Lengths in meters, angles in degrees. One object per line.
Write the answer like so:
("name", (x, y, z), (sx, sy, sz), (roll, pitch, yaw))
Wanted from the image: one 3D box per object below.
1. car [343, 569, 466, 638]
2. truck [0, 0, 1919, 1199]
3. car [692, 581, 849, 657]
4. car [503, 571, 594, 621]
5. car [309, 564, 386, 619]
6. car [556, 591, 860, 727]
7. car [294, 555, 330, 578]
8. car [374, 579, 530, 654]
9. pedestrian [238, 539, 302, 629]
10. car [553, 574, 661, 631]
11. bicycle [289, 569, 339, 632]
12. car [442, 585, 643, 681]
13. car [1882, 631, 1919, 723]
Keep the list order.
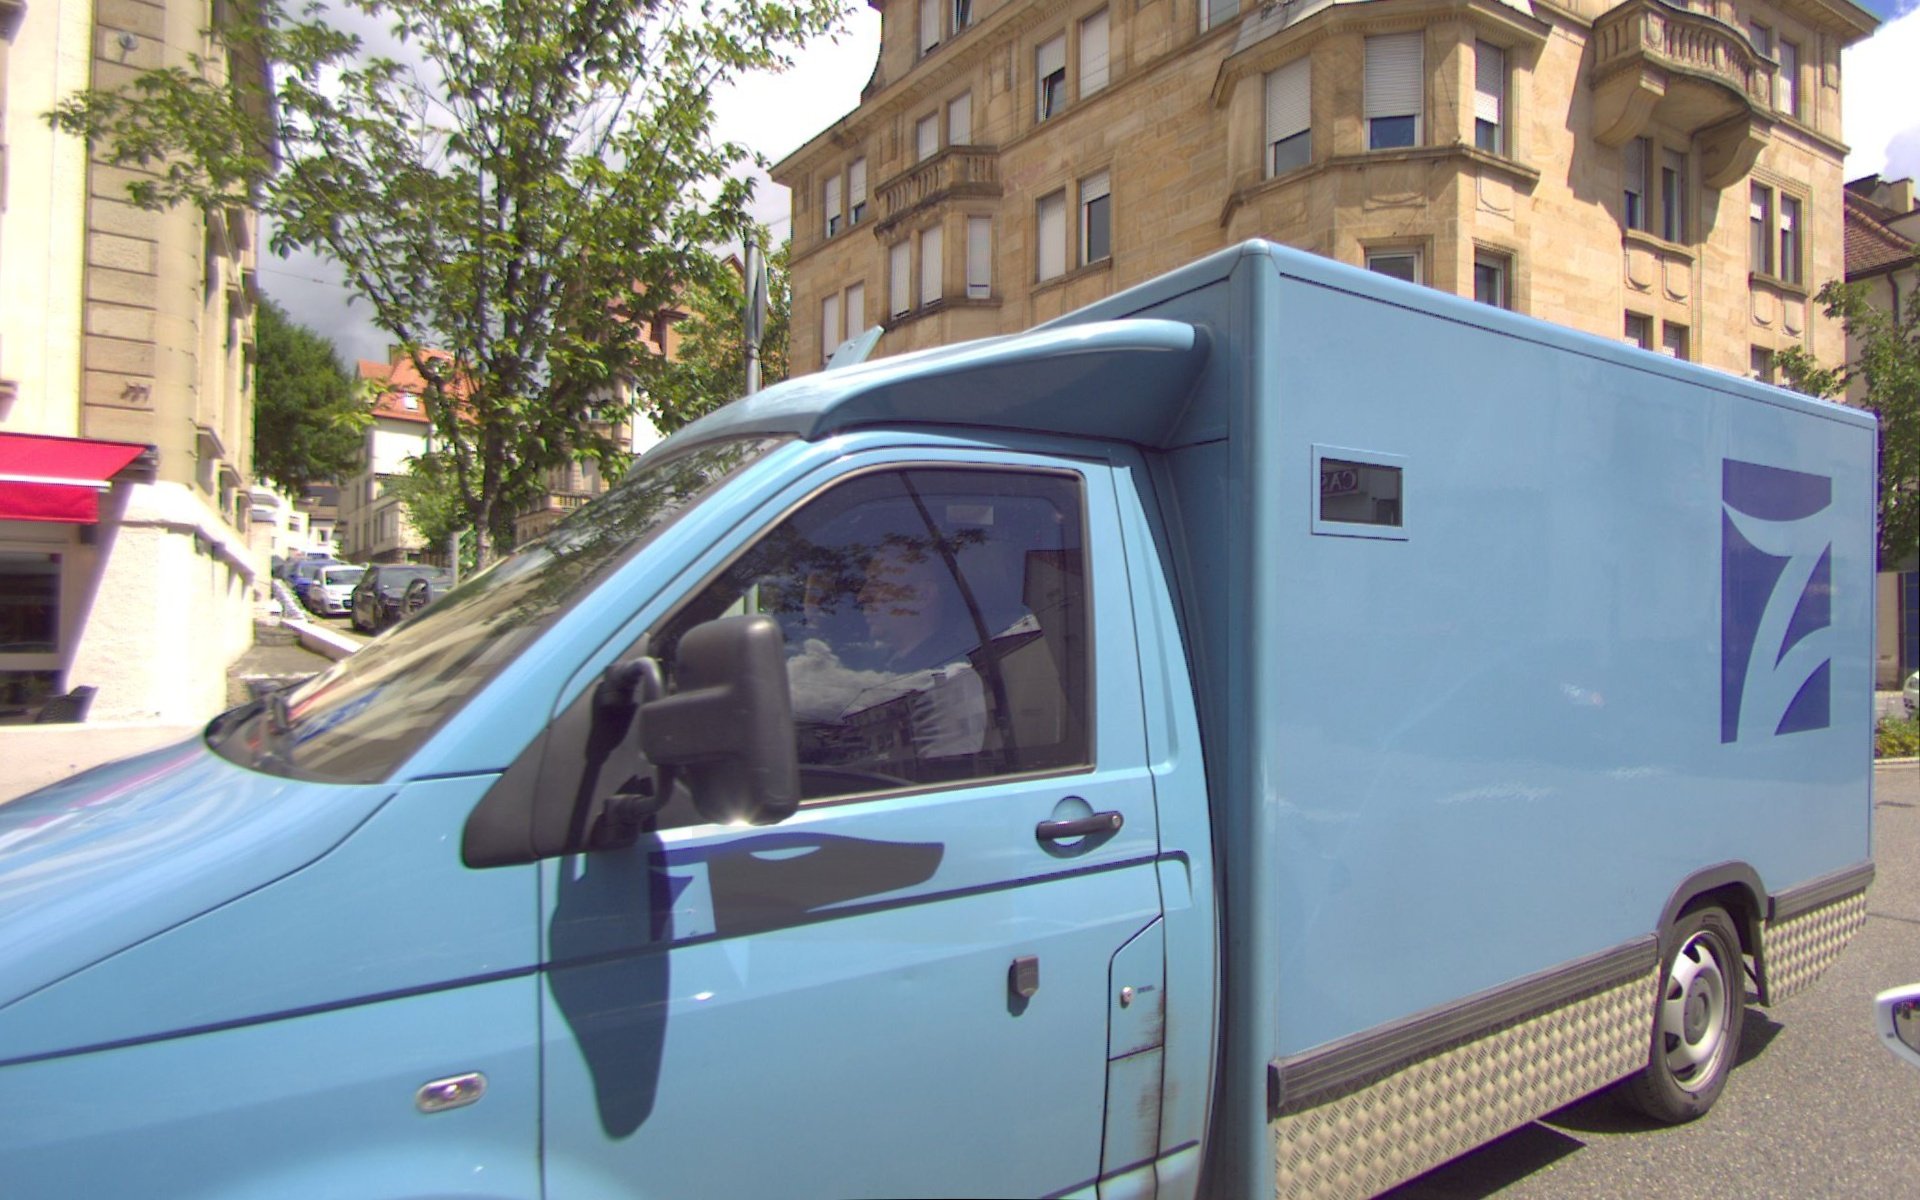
("car", (-13.808, 0.055, 24.874), (1.842, 1.564, 3.951), (1, 0, -42))
("truck", (1.076, 0.288, 3.369), (6.401, 2.336, 2.096), (2, 0, -31))
("car", (-4.506, 0.400, 23.417), (1.981, 1.582, 4.175), (2, 0, -36))
("car", (-14.481, -0.166, 35.216), (1.981, 1.582, 4.175), (2, 0, -36))
("car", (-19.302, -0.278, 31.576), (1.813, 1.573, 4.192), (2, 0, -34))
("car", (-3.458, 0.663, 13.272), (1.987, 1.399, 4.330), (2, 0, -44))
("car", (-47.911, -2.455, 74.289), (1.981, 1.582, 4.175), (2, 0, -36))
("car", (-10.914, 0.311, 21.443), (1.819, 1.399, 4.177), (2, 0, -44))
("pedestrian", (-16.239, -0.353, 23.666), (1.024, 2.040, 0.967), (2, 0, -23))
("car", (-10.881, 0.034, 30.771), (1.981, 1.582, 4.175), (2, 0, -36))
("bicycle", (-15.425, 0.014, 24.005), (0.796, 1.469, 1.013), (2, 0, -22))
("car", (-7.370, 0.510, 17.535), (1.819, 1.399, 4.177), (2, 0, -44))
("car", (16.785, 1.261, 16.123), (3.990, 1.416, 1.837), (2, -1, -30))
